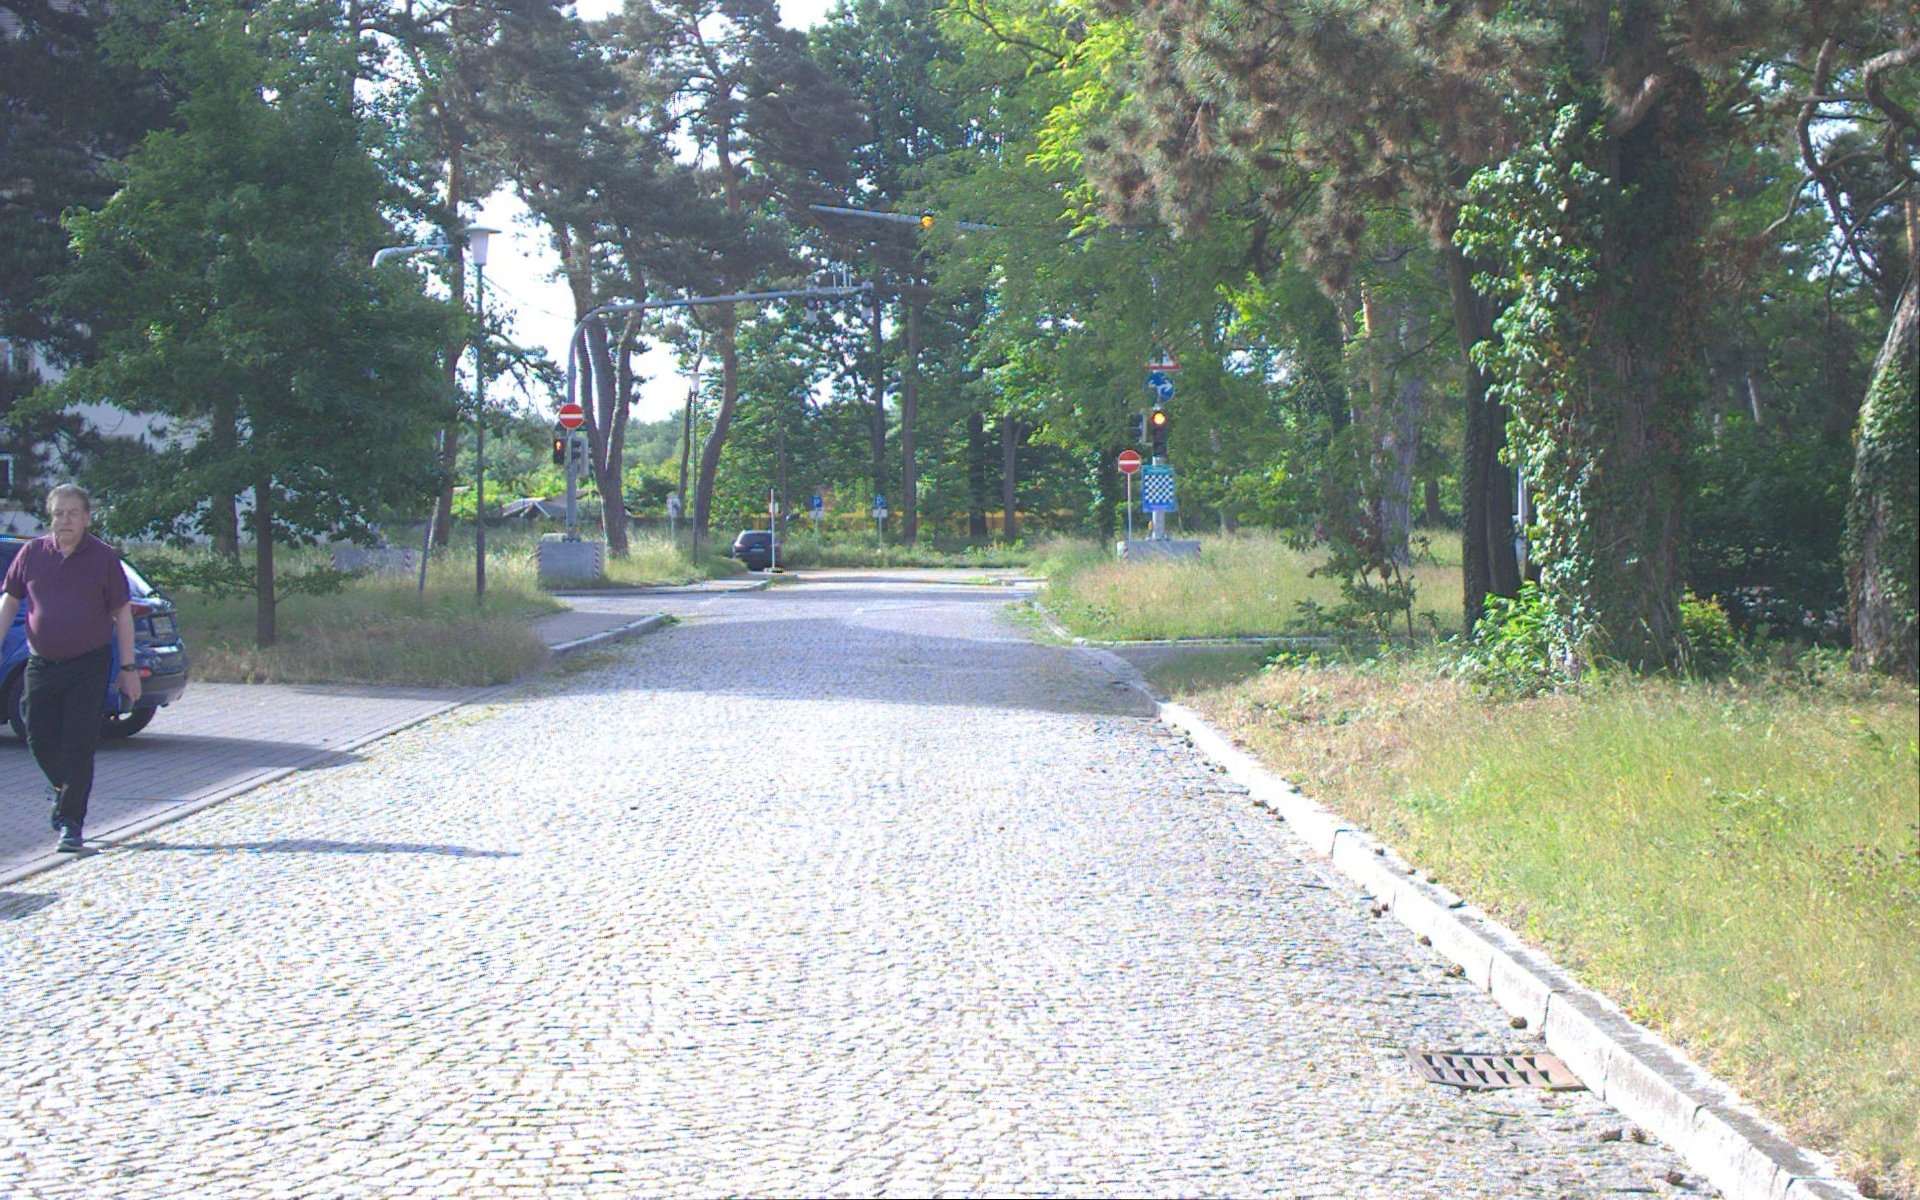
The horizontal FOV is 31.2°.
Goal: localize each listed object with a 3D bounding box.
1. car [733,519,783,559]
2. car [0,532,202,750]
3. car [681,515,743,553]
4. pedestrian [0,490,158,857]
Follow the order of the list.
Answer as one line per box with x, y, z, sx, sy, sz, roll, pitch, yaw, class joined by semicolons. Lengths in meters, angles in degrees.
-7.676;-2.325;130.749;1.844;1.481;4.001;0;1;-3;car
-7.548;0.228;24.570;3.836;1.459;1.720;2;1;1;car
-9.749;-2.605;135.477;1.783;1.485;3.754;0;1;7;car
-4.495;0.340;17.109;0.804;1.765;1.153;0;1;-5;pedestrian
